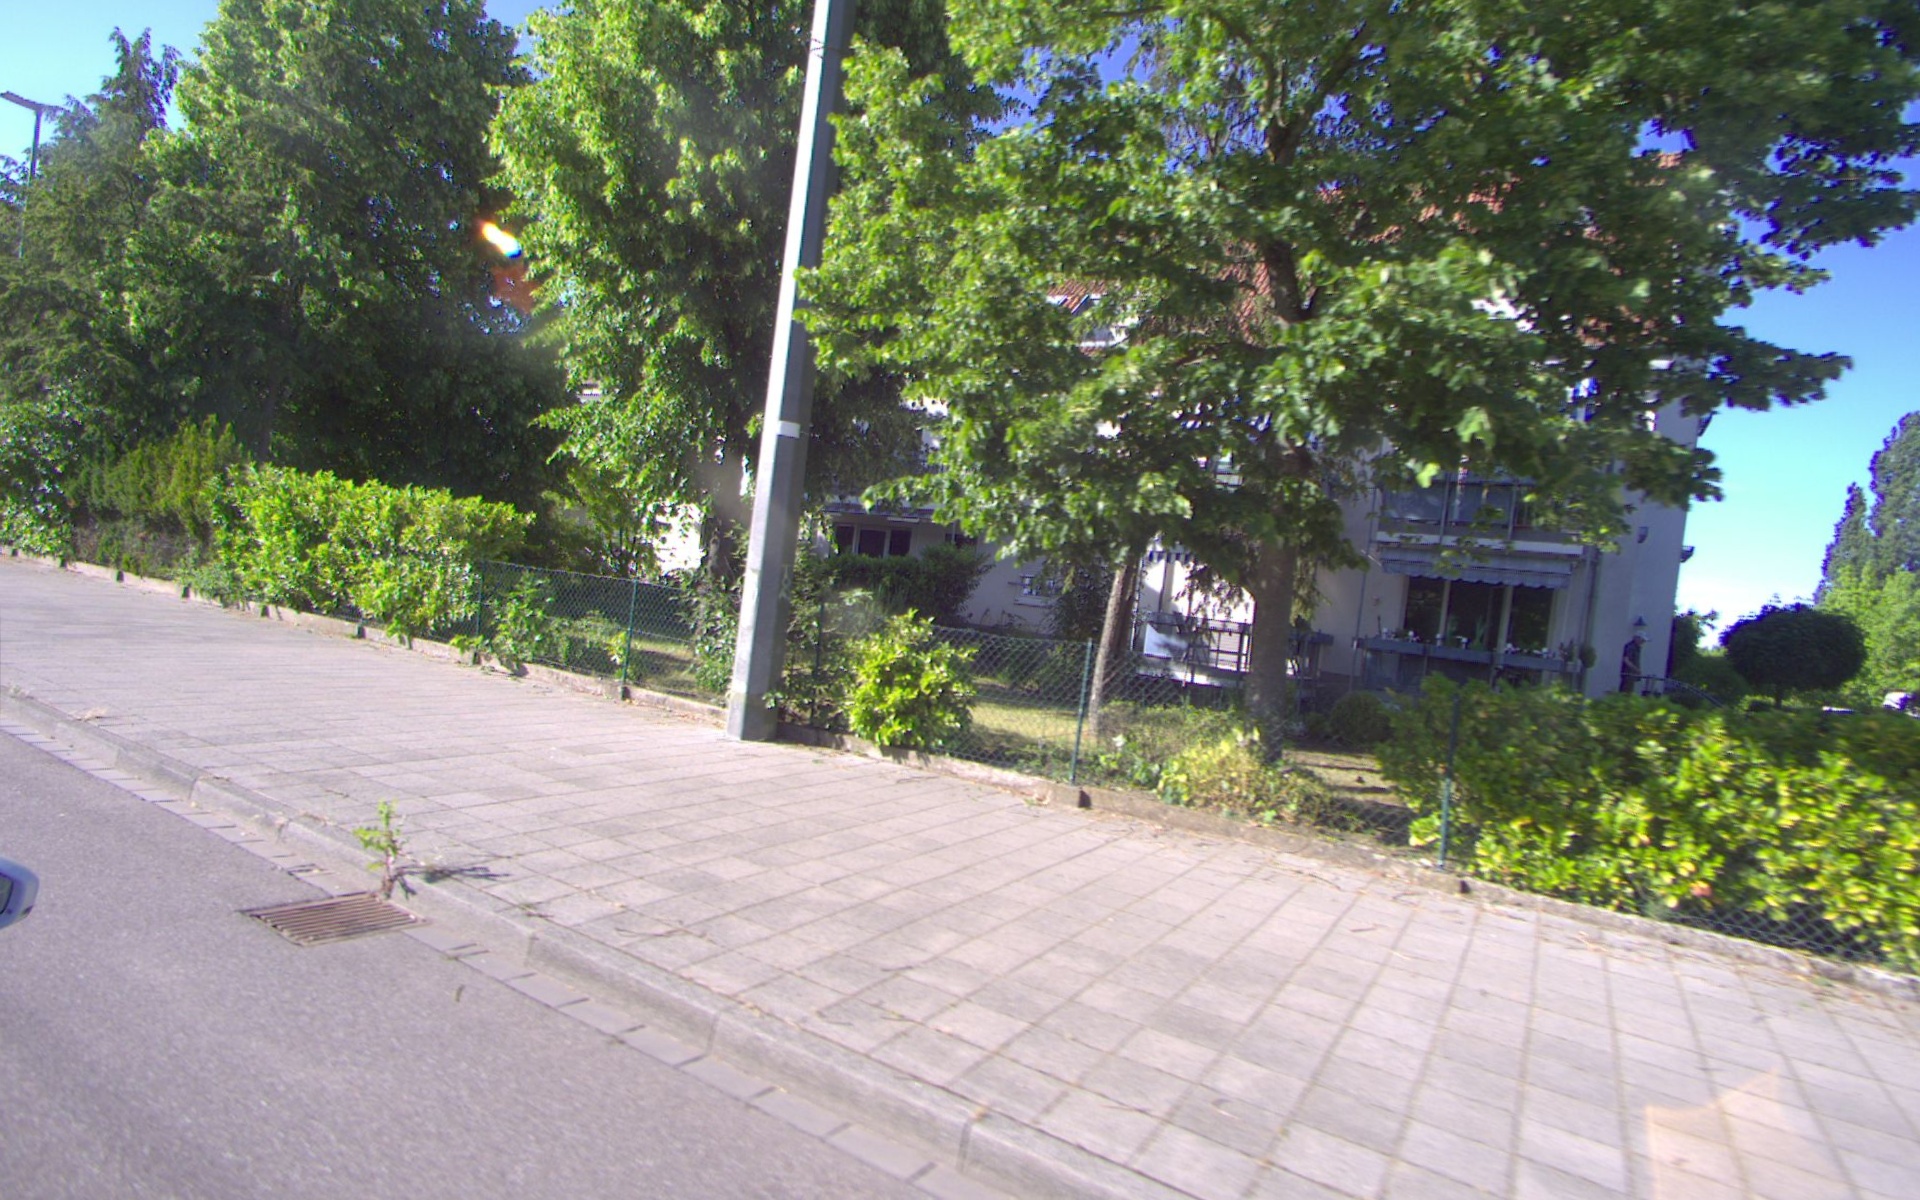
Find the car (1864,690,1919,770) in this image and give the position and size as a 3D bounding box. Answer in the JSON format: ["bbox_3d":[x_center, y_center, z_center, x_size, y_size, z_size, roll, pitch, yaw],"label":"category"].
[{"bbox_3d":[34.211,4.673,33.487,5.588,2.562,2.196,6,-2,31],"label":"car"}]
